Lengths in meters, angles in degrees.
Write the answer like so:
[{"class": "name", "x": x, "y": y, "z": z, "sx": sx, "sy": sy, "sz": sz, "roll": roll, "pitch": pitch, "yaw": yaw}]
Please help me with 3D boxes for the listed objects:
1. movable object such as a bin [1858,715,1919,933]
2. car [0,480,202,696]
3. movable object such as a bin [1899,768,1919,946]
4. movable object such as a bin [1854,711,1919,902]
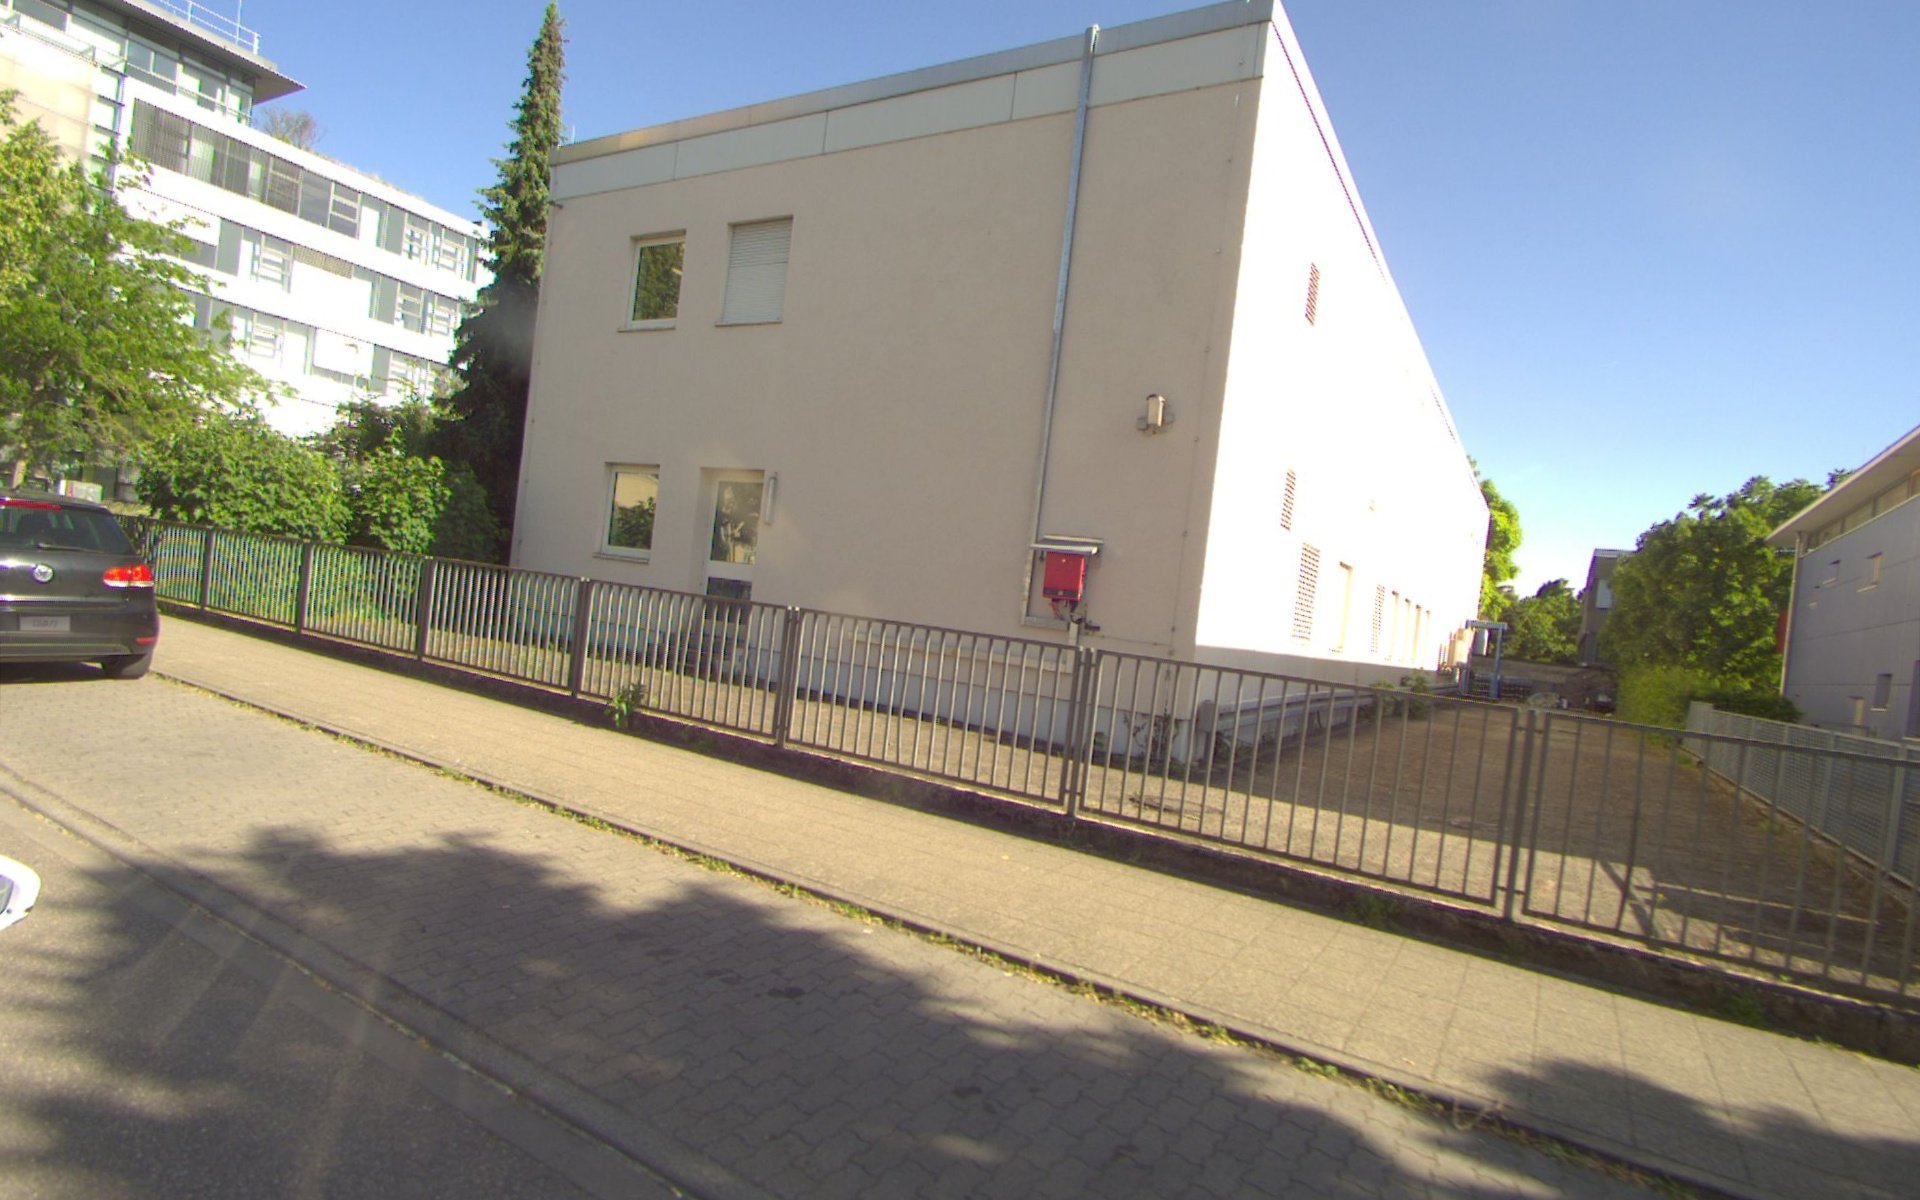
[{"class": "movable object such as a bin", "x": 7.655, "y": 1.684, "z": 7.108, "sx": 1.605, "sy": 1.466, "sz": 1.367, "roll": 7, "pitch": 0, "yaw": 32}, {"class": "car", "x": -8.371, "y": -0.268, "z": 8.408, "sx": 3.932, "sy": 1.535, "sz": 1.786, "roll": 7, "pitch": 1, "yaw": 30}, {"class": "movable object such as a bin", "x": 6.868, "y": 1.625, "z": 5.916, "sx": 1.605, "sy": 1.374, "sz": 1.367, "roll": 7, "pitch": 0, "yaw": 32}, {"class": "movable object such as a bin", "x": 8.572, "y": 1.772, "z": 8.175, "sx": 1.605, "sy": 1.466, "sz": 1.331, "roll": 7, "pitch": 0, "yaw": 32}]
